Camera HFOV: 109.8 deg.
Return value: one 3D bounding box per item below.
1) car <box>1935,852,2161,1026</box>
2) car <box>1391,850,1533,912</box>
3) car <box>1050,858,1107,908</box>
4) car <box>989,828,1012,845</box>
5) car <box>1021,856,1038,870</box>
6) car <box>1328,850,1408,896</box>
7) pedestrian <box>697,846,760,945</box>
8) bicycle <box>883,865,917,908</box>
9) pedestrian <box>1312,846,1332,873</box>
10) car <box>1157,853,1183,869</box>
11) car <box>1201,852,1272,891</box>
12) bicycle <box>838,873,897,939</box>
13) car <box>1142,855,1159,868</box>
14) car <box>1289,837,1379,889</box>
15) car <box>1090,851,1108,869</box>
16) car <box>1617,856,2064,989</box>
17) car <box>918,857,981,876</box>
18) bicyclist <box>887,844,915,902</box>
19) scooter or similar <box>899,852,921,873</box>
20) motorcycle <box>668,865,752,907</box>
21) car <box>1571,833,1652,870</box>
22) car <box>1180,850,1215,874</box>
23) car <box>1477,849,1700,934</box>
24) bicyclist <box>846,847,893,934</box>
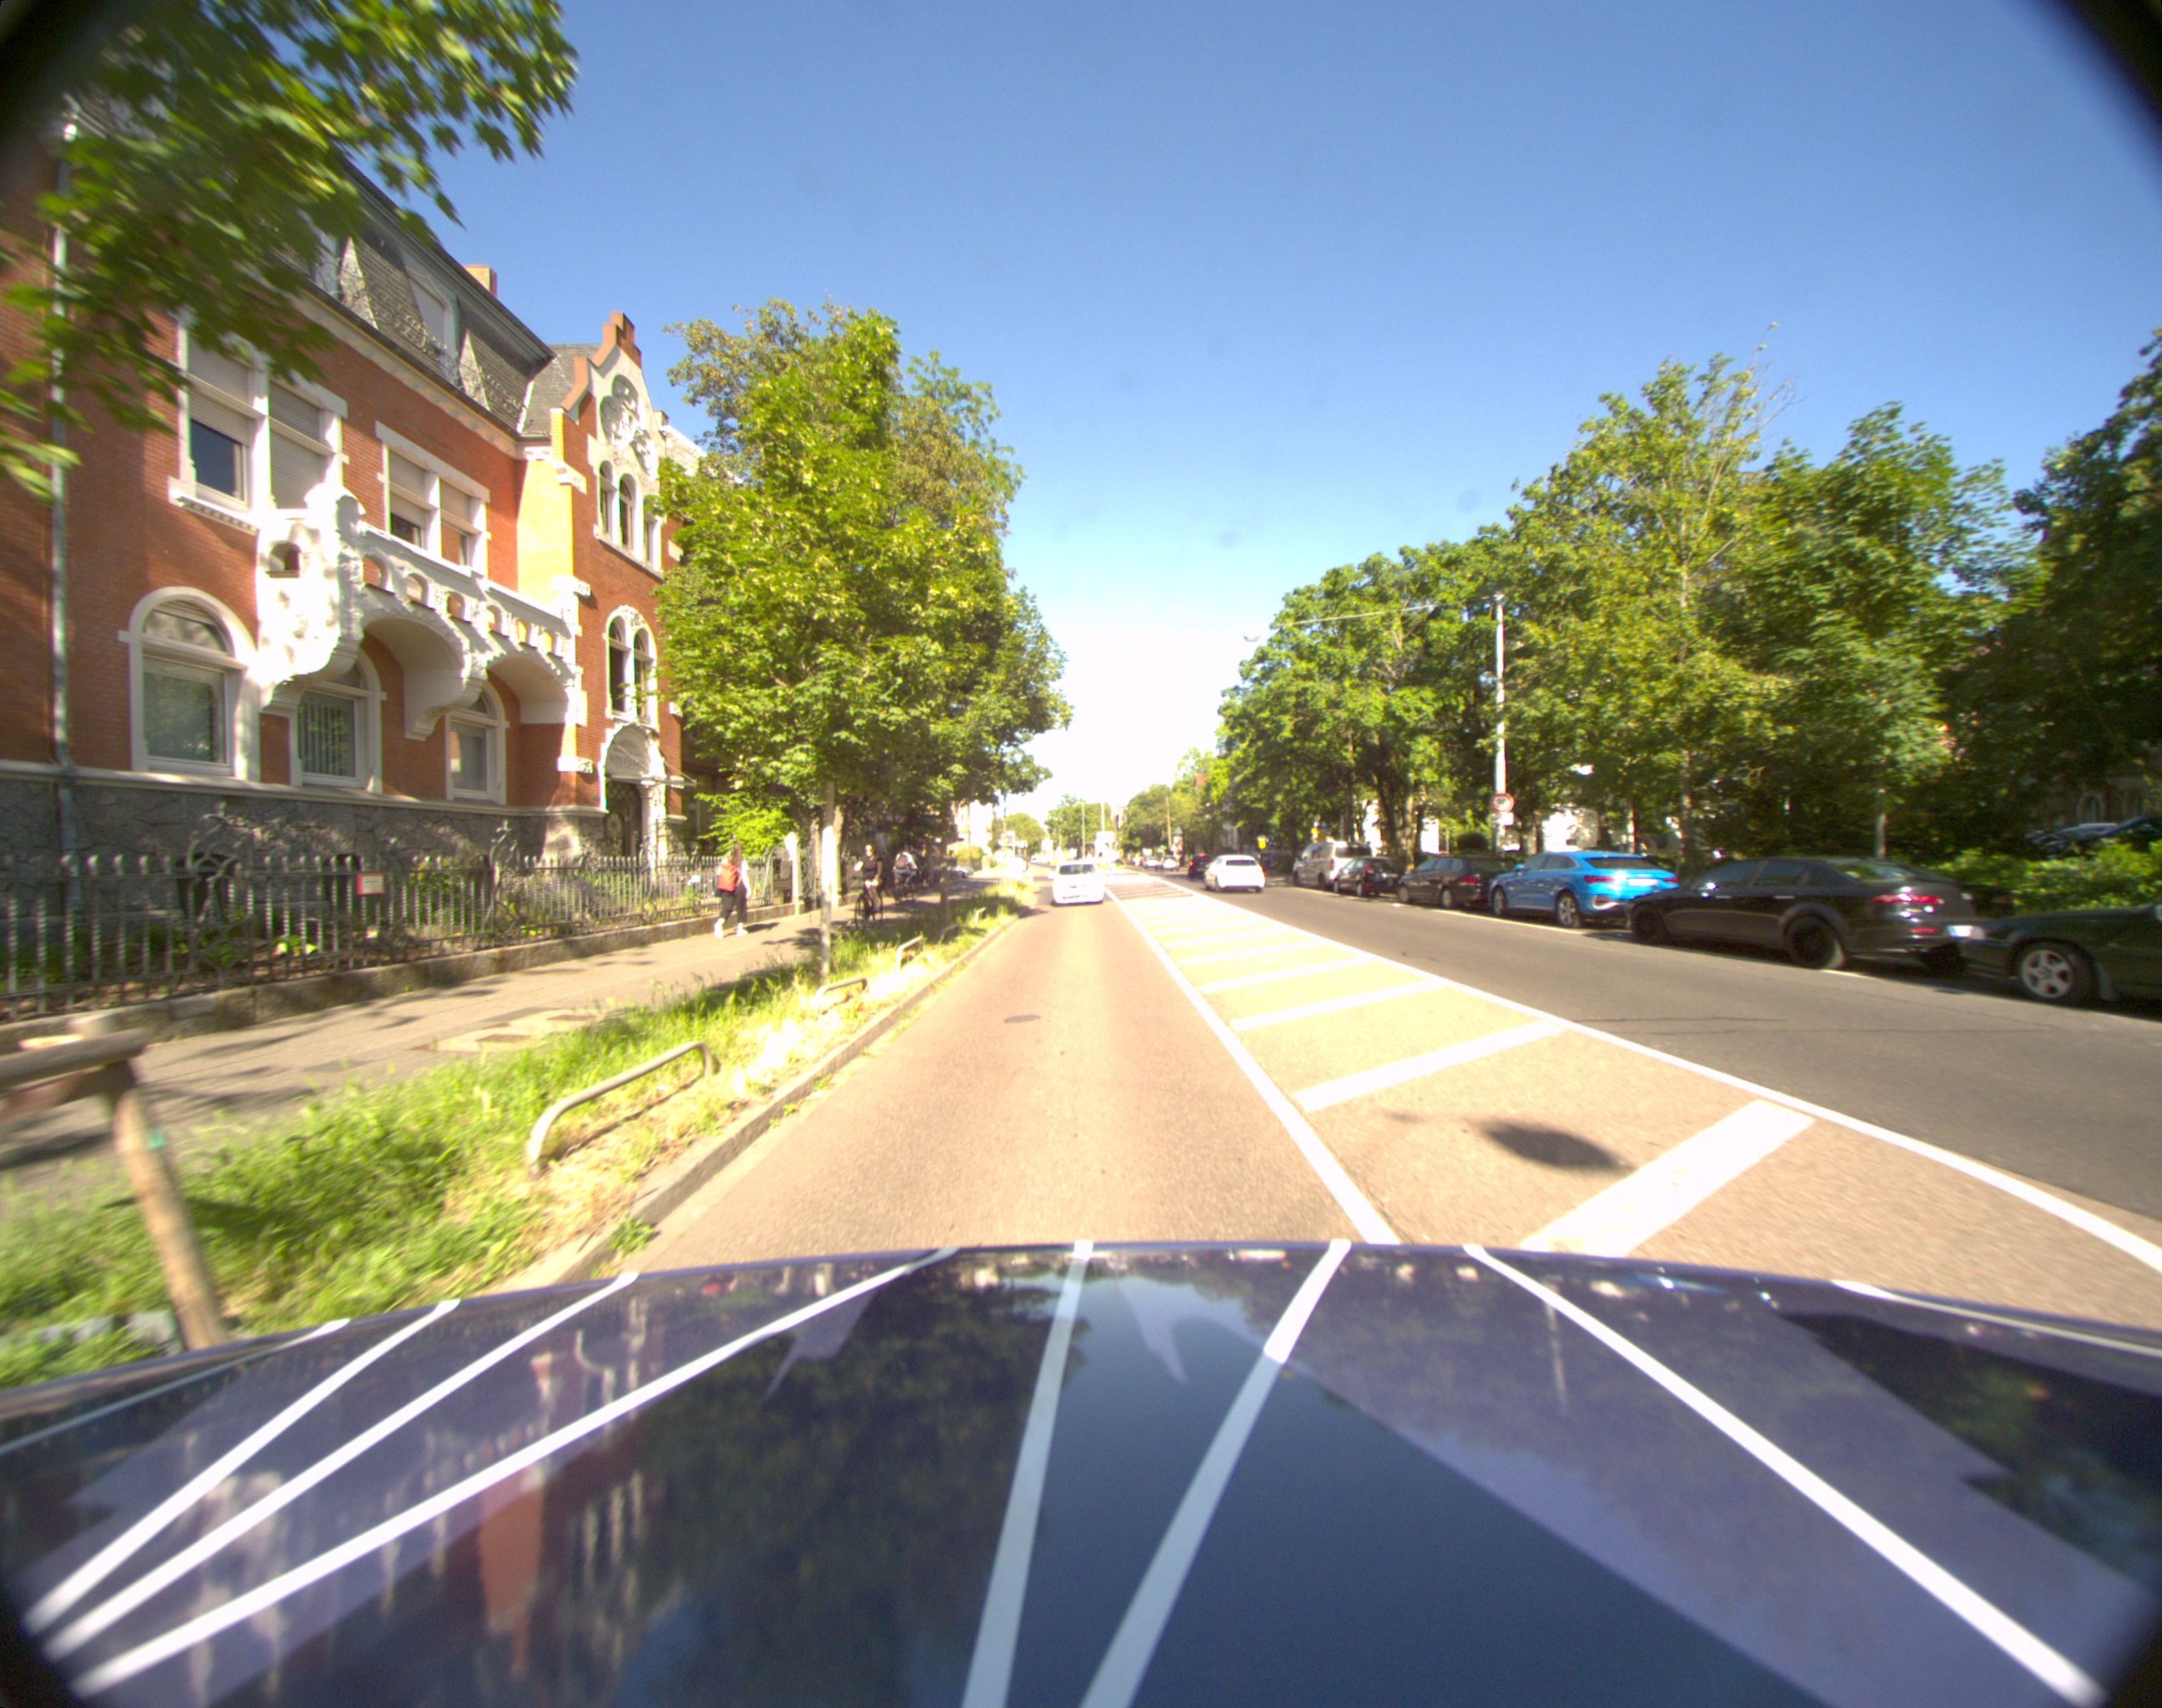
[{"bbox_3d":[9.913,0.726,5.701,1.698,1.448,4.663,1,0,-1],"label":"car"},{"bbox_3d":[10.335,0.670,20.998,1.594,1.474,4.270,0,1,-3],"label":"car"},{"bbox_3d":[-0.013,0.944,26.358,1.652,1.449,3.897,-4,0,3],"label":"car"},{"bbox_3d":[-7.241,-1.572,68.925,1.847,1.432,4.104,2,0,-3],"label":"car"},{"bbox_3d":[-6.748,1.197,100.245,1.893,1.679,4.699,-2,0,-1],"label":"car"},{"bbox_3d":[10.334,0.645,27.647,1.467,1.493,3.958,0,1,1],"label":"car"},{"bbox_3d":[-6.168,0.704,13.338,0.696,1.649,0.820,2,2,0],"label":"pedestrian"},{"bbox_3d":[-5.387,0.943,22.761,0.617,1.169,1.918,2,0,-3],"label":"bicycle"},{"bbox_3d":[15.659,0.345,49.360,0.872,1.745,0.819,-2,1,-10],"label":"pedestrian"},{"bbox_3d":[8.419,0.674,72.085,1.843,1.482,3.779,0,0,-3],"label":"car"},{"bbox_3d":[6.102,0.651,30.340,1.923,1.411,4.224,0,0,-1],"label":"car"},{"bbox_3d":[-4.273,1.010,15.350,0.654,1.169,1.843,2,0,-1],"label":"bicycle"},{"bbox_3d":[8.555,0.868,93.727,1.808,1.485,4.713,-1,0,3],"label":"car"},{"bbox_3d":[10.688,0.349,32.515,1.989,2.024,4.873,1,0,-3],"label":"car"},{"bbox_3d":[1.923,0.622,82.030,1.694,1.862,3.560,0,0,-3],"label":"car"},{"bbox_3d":[9.851,0.753,10.512,1.785,1.405,4.405,1,0,1],"label":"car"},{"bbox_3d":[-9.950,0.953,57.780,4.417,1.409,2.047,0,1,2],"label":"car"},{"bbox_3d":[-5.370,0.558,22.725,0.622,1.680,0.820,2,1,-3],"label":"bicyclist"},{"bbox_3d":[-10.911,0.528,48.486,0.759,1.256,1.411,1,1,17],"label":"scooter or similar"},{"bbox_3d":[-9.902,0.841,20.315,1.879,1.026,0.781,1,2,9],"label":"motorcycle"},{"bbox_3d":[34.277,-0.159,49.283,1.893,2.233,4.917,0,0,1],"label":"car"},{"bbox_3d":[7.391,0.453,48.523,1.596,1.441,4.133,-1,0,1],"label":"car"},{"bbox_3d":[10.418,0.668,16.108,1.784,1.529,4.559,1,1,2],"label":"car"},{"bbox_3d":[-4.258,0.721,15.355,0.647,1.685,0.889,2,0,0],"label":"bicyclist"}]
